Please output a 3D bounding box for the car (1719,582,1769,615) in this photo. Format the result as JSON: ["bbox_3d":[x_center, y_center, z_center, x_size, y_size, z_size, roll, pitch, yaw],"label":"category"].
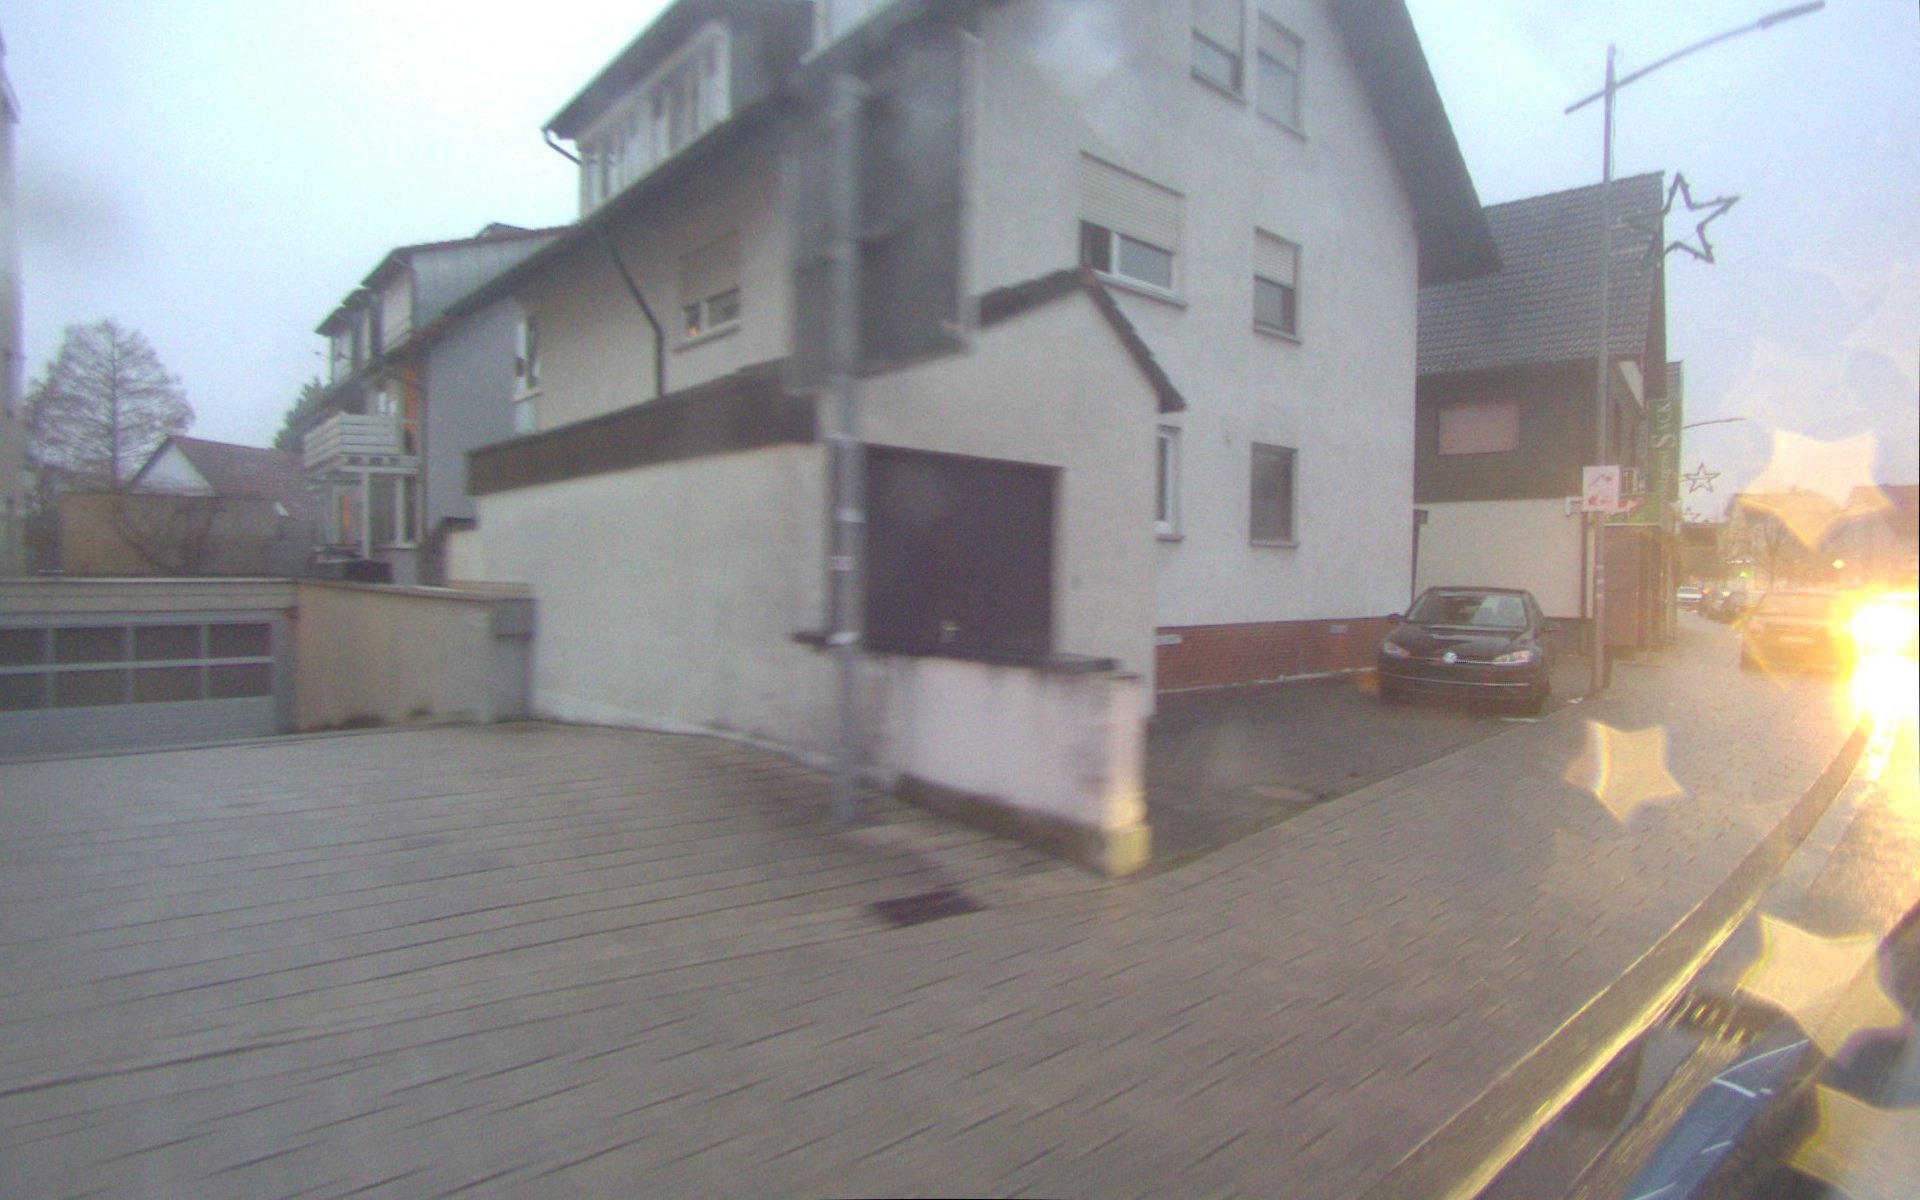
[{"bbox_3d":[40.963,-0.125,52.938,1.658,1.595,4.444,2,2,33],"label":"car"}]

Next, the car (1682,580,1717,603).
[{"bbox_3d":[55.778,-0.669,76.390,1.800,1.583,4.255,2,2,32],"label":"car"}]

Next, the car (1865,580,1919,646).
[{"bbox_3d":[26.465,0.413,27.808,1.896,1.661,4.505,-1,-3,36],"label":"car"}]

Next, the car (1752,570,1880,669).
[{"bbox_3d":[18.140,0.348,21.386,1.770,1.803,3.938,5,4,43],"label":"car"}]

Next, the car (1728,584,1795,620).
[{"bbox_3d":[37.310,0.077,47.219,1.949,1.552,4.949,-1,0,33],"label":"car"}]

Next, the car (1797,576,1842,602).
[{"bbox_3d":[57.281,-0.737,67.488,1.654,1.656,3.512,1,1,31],"label":"car"}]

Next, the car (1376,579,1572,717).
[{"bbox_3d":[6.706,0.476,12.995,1.759,1.410,3.867,4,3,34],"label":"car"}]
